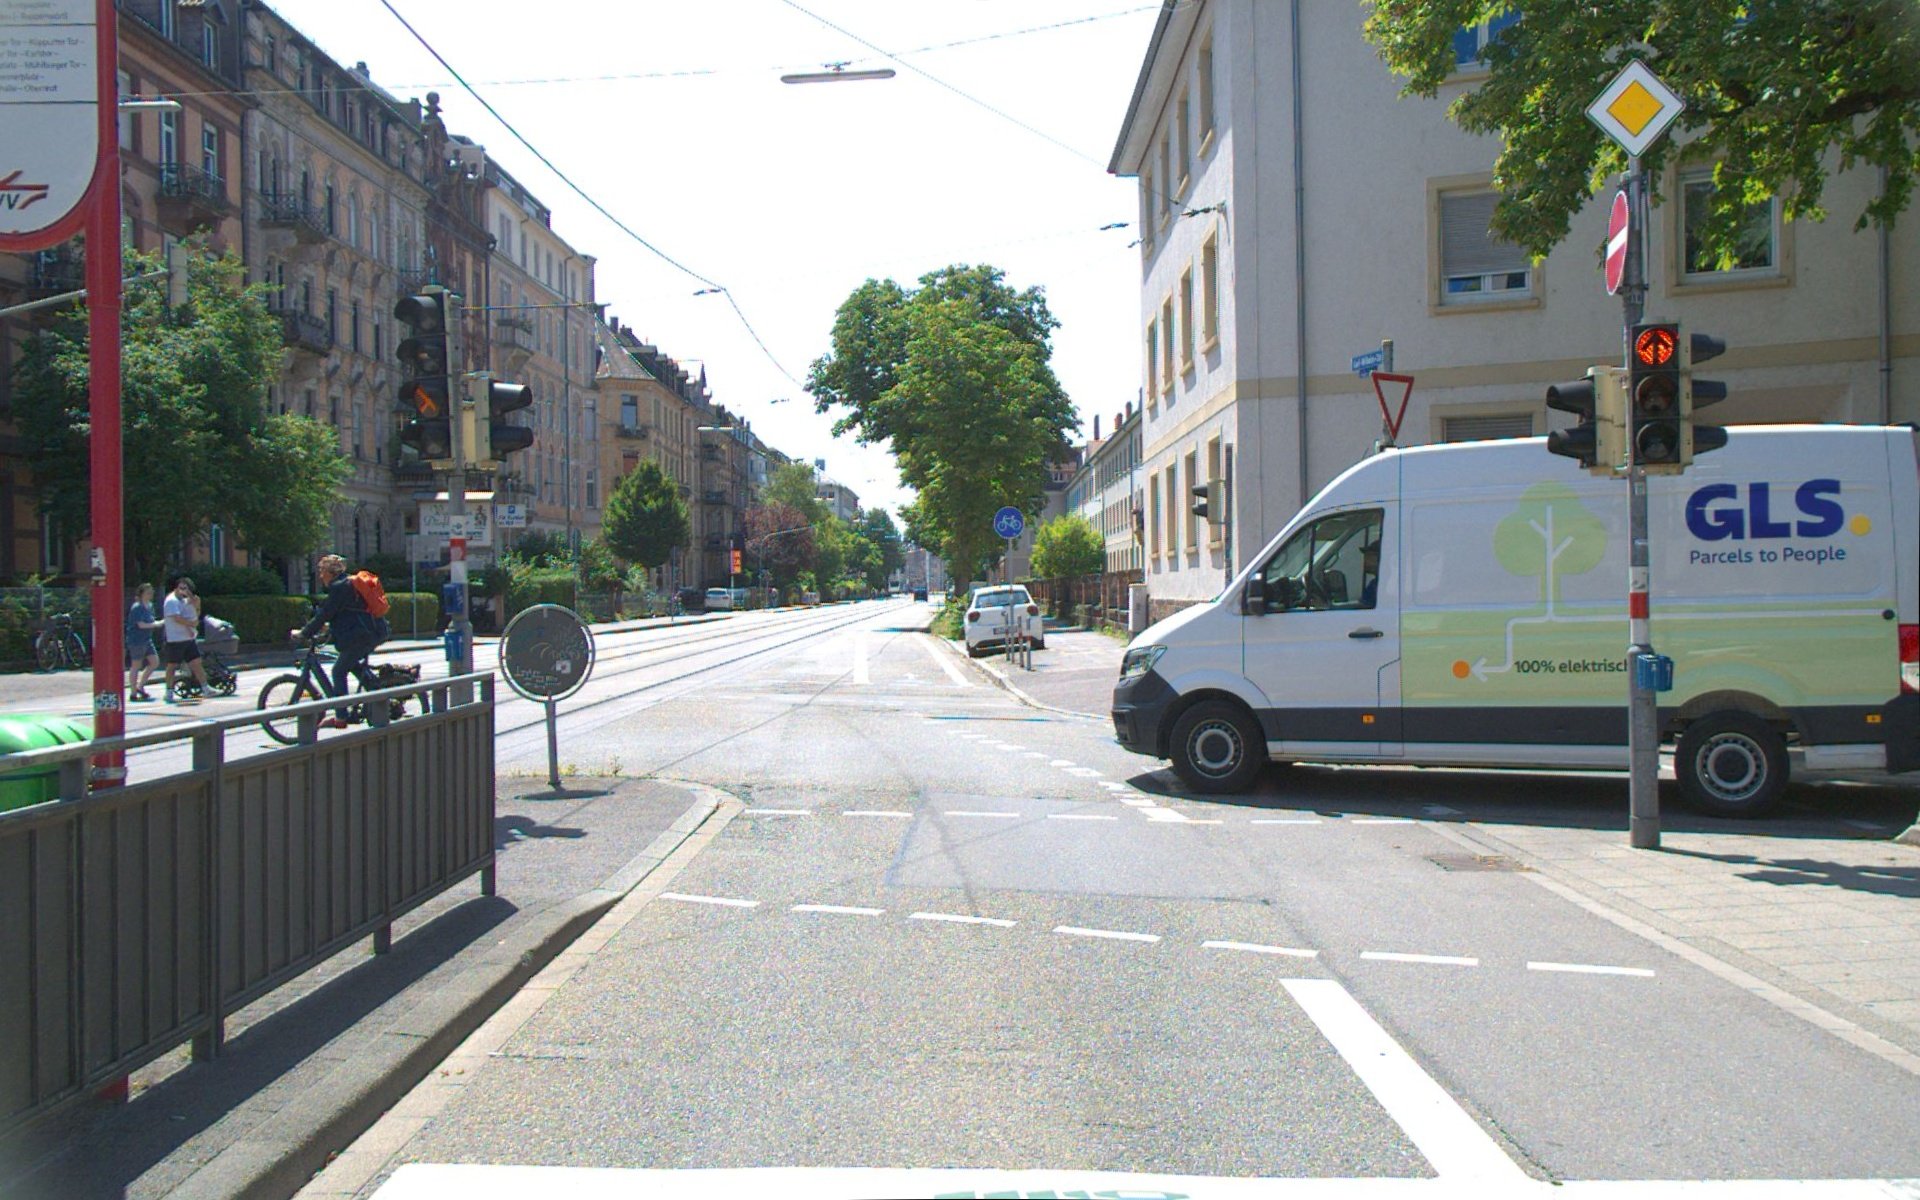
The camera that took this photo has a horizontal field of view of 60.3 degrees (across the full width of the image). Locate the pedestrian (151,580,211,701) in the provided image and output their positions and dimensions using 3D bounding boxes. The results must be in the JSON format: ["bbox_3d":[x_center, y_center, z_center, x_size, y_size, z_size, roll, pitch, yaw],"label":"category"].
[{"bbox_3d":[-10.910,0.556,23.165,0.648,1.643,0.462,0,2,-43],"label":"pedestrian"}]

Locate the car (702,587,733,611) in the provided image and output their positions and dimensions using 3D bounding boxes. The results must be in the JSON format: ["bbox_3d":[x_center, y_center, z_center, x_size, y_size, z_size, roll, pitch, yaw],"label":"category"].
[{"bbox_3d":[-16.890,-0.047,115.337,1.651,1.498,3.936,-4,0,-3],"label":"car"}]

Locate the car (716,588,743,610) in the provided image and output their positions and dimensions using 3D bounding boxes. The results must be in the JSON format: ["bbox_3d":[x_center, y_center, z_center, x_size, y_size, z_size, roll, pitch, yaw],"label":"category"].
[{"bbox_3d":[-17.187,-0.092,123.673,1.596,1.498,3.562,-4,0,-3],"label":"car"}]

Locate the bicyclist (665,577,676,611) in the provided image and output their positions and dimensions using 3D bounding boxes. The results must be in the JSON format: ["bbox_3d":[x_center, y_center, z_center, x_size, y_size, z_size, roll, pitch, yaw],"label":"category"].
[{"bbox_3d":[-15.352,-0.323,87.756,0.531,1.794,0.498,0,0,-1],"label":"bicyclist"}]

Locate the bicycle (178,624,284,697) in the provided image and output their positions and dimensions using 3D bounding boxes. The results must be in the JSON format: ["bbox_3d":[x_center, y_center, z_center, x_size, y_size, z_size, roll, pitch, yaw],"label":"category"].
[{"bbox_3d":[-10.696,0.873,24.293,1.390,1.031,0.383,0,0,-41],"label":"bicycle"}]

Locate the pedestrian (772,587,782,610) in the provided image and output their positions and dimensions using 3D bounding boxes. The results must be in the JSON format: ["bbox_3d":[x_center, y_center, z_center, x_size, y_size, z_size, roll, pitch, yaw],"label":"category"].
[{"bbox_3d":[-14.230,-0.098,128.741,0.664,1.758,0.677,0,0,-1],"label":"pedestrian"}]

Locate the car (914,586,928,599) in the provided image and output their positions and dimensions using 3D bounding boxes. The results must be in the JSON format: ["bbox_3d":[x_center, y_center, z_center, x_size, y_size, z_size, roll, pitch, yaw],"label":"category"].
[{"bbox_3d":[-4.463,-0.866,191.736,1.494,1.469,3.364,-2,0,0],"label":"car"}]

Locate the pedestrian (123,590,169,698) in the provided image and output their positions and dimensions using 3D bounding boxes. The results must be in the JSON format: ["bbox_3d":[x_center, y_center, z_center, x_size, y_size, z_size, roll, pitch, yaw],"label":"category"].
[{"bbox_3d":[-11.852,0.632,24.087,0.503,1.543,0.462,0,0,-43],"label":"pedestrian"}]

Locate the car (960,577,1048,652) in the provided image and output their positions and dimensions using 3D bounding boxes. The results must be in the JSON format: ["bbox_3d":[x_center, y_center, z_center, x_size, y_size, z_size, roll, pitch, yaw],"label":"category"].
[{"bbox_3d":[0.935,0.308,37.213,1.712,1.498,3.937,-4,0,-1],"label":"car"}]

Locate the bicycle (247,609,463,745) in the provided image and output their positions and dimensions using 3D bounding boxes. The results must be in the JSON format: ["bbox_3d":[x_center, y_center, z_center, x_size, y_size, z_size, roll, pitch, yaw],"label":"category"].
[{"bbox_3d":[-5.847,0.719,15.979,2.037,1.258,0.581,0,0,18],"label":"bicycle"}]

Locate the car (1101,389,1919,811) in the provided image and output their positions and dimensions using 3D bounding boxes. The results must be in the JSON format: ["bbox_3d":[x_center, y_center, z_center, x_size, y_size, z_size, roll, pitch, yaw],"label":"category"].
[{"bbox_3d":[4.103,0.015,12.401,5.718,2.635,1.998,-1,0,27],"label":"car"}]

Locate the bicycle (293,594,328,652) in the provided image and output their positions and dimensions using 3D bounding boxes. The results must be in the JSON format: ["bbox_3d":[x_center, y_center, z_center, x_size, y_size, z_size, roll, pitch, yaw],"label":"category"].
[{"bbox_3d":[-15.908,0.555,40.487,0.584,1.380,2.419,0,0,-27],"label":"bicycle"}]

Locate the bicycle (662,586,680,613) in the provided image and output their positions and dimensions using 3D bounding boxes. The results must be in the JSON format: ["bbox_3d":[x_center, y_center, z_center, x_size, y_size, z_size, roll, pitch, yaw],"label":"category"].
[{"bbox_3d":[-15.362,-0.008,87.875,0.565,1.412,2.500,0,0,-1],"label":"bicycle"}]

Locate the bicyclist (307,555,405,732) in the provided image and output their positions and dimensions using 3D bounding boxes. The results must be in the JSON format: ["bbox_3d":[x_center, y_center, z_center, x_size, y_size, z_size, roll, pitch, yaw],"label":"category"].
[{"bbox_3d":[-5.821,0.410,15.955,0.679,1.675,0.580,0,0,18],"label":"bicyclist"}]
